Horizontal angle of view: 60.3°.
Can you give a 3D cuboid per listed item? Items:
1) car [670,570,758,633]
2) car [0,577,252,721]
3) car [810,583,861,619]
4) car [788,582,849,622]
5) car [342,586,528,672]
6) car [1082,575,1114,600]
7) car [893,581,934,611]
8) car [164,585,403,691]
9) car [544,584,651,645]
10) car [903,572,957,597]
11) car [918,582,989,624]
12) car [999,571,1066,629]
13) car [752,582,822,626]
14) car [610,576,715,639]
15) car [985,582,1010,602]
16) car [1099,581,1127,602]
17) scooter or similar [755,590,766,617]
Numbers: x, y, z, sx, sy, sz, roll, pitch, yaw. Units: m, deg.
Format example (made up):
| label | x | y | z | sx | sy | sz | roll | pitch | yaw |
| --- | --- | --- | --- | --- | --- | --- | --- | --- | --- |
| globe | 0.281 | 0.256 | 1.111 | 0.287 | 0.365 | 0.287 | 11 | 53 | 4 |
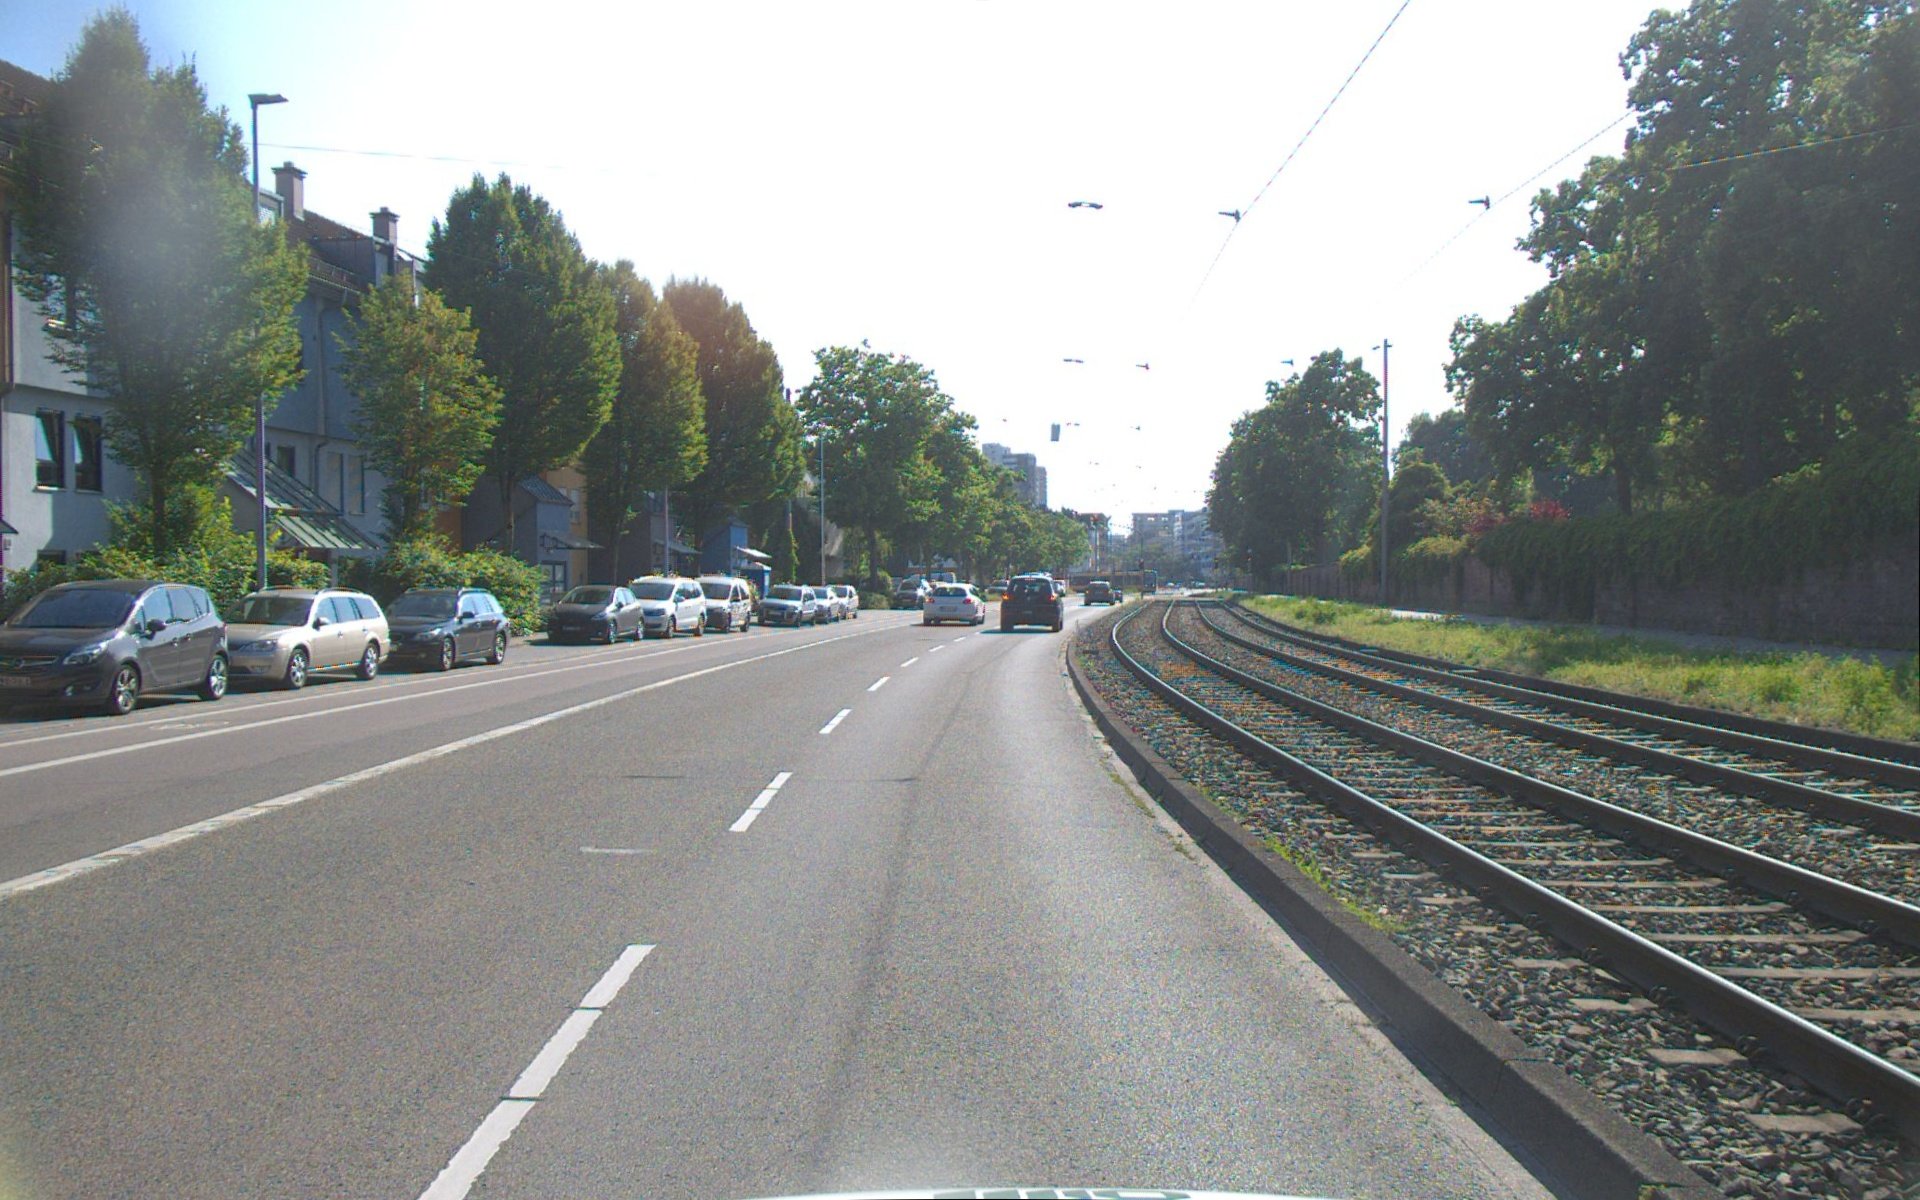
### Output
| label | x | y | z | sx | sy | sz | roll | pitch | yaw |
| --- | --- | --- | --- | --- | --- | --- | --- | --- | --- |
| car | -8.179 | 0.029 | 55.376 | 1.726 | 1.877 | 4.583 | 4 | 1 | 6 |
| car | -10.834 | 0.545 | 21.121 | 1.726 | 1.601 | 4.298 | 2 | 0 | -1 |
| car | -5.668 | 0.028 | 75.478 | 1.567 | 1.520 | 3.512 | 4 | 1 | 7 |
| car | -5.961 | 0.052 | 70.149 | 1.712 | 1.537 | 4.759 | 4 | 1 | 5 |
| car | -10.175 | 0.506 | 32.488 | 1.673 | 1.497 | 4.913 | 2 | 1 | 5 |
| car | 8.570 | -0.751 | 102.189 | 1.773 | 1.474 | 4.003 | 1 | 1 | 7 |
| car | -2.681 | -0.247 | 96.849 | 1.675 | 1.723 | 4.426 | 0 | 1 | 8 |
| car | -10.717 | 0.568 | 26.624 | 1.677 | 1.497 | 4.846 | 2 | 0 | 2 |
| car | -9.537 | 0.355 | 43.834 | 1.582 | 1.491 | 4.061 | 1 | 1 | 5 |
| car | -3.029 | -1.563 | 169.306 | 5.261 | 2.466 | 2.089 | -1 | 0 | 8 |
| car | -0.181 | 0.073 | 55.789 | 1.825 | 1.371 | 4.003 | 0 | 1 | 8 |
| car | 2.250 | -0.015 | 50.410 | 1.773 | 1.673 | 4.003 | 1 | 0 | 6 |
| car | -6.789 | 0.142 | 65.303 | 1.726 | 1.565 | 3.984 | 4 | 1 | 8 |
| car | -8.773 | 0.201 | 49.172 | 1.633 | 1.730 | 4.828 | 2 | 1 | 7 |
| car | 3.324 | -0.685 | 145.159 | 1.695 | 1.686 | 4.004 | -1 | 0 | 9 |
| car | 11.049 | -0.621 | 119.256 | 1.773 | 1.474 | 4.004 | 1 | 1 | 8 |
| scooter or similar | -8.766 | 0.141 | 72.574 | 0.287 | 1.174 | 1.043 | 0 | 0 | 3 |
